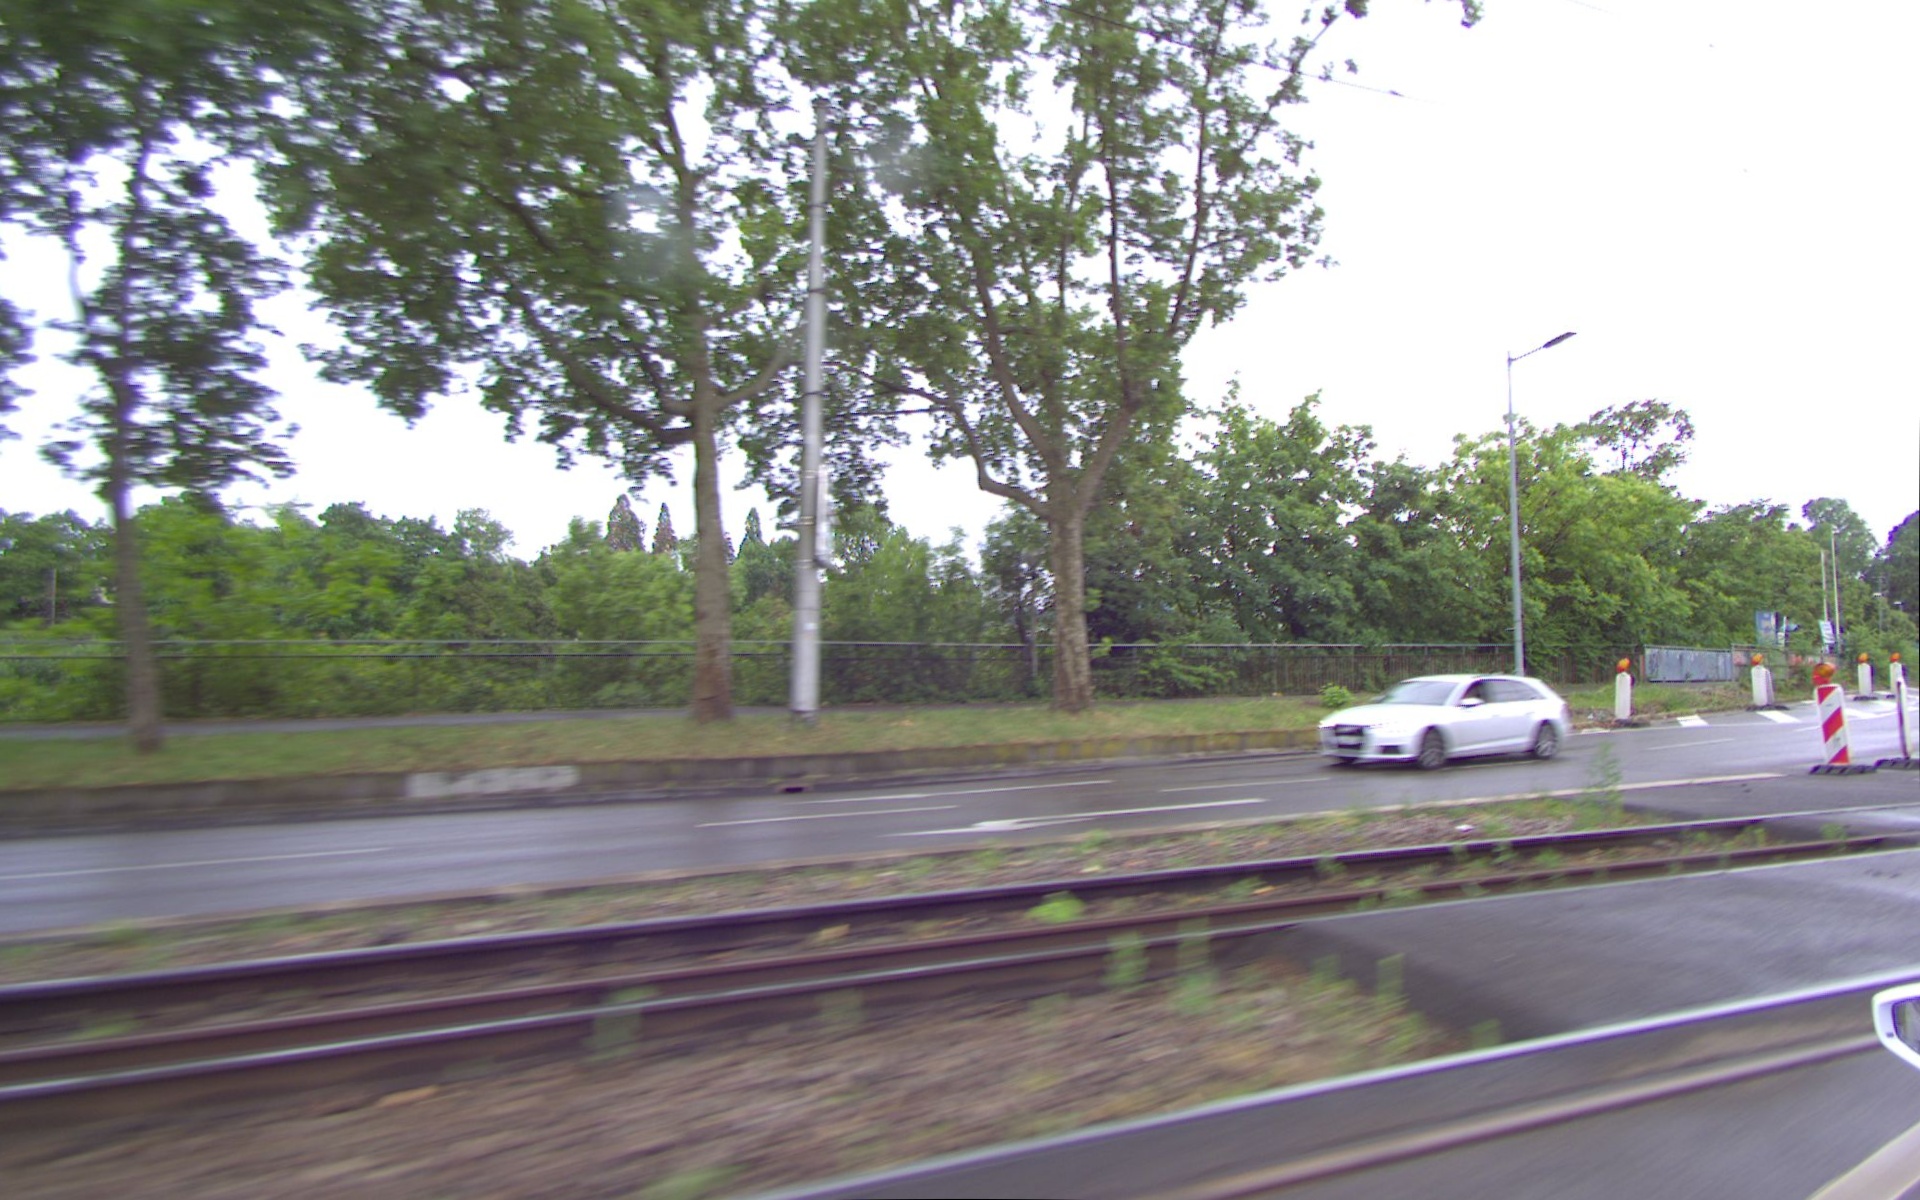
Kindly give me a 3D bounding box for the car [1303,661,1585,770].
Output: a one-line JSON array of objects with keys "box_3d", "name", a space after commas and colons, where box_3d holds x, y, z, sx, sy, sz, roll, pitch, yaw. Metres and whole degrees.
[{"box_3d": [8.051, 1.843, 16.623, 4.660, 1.517, 1.703, 1, -6, -28], "name": "car"}]
